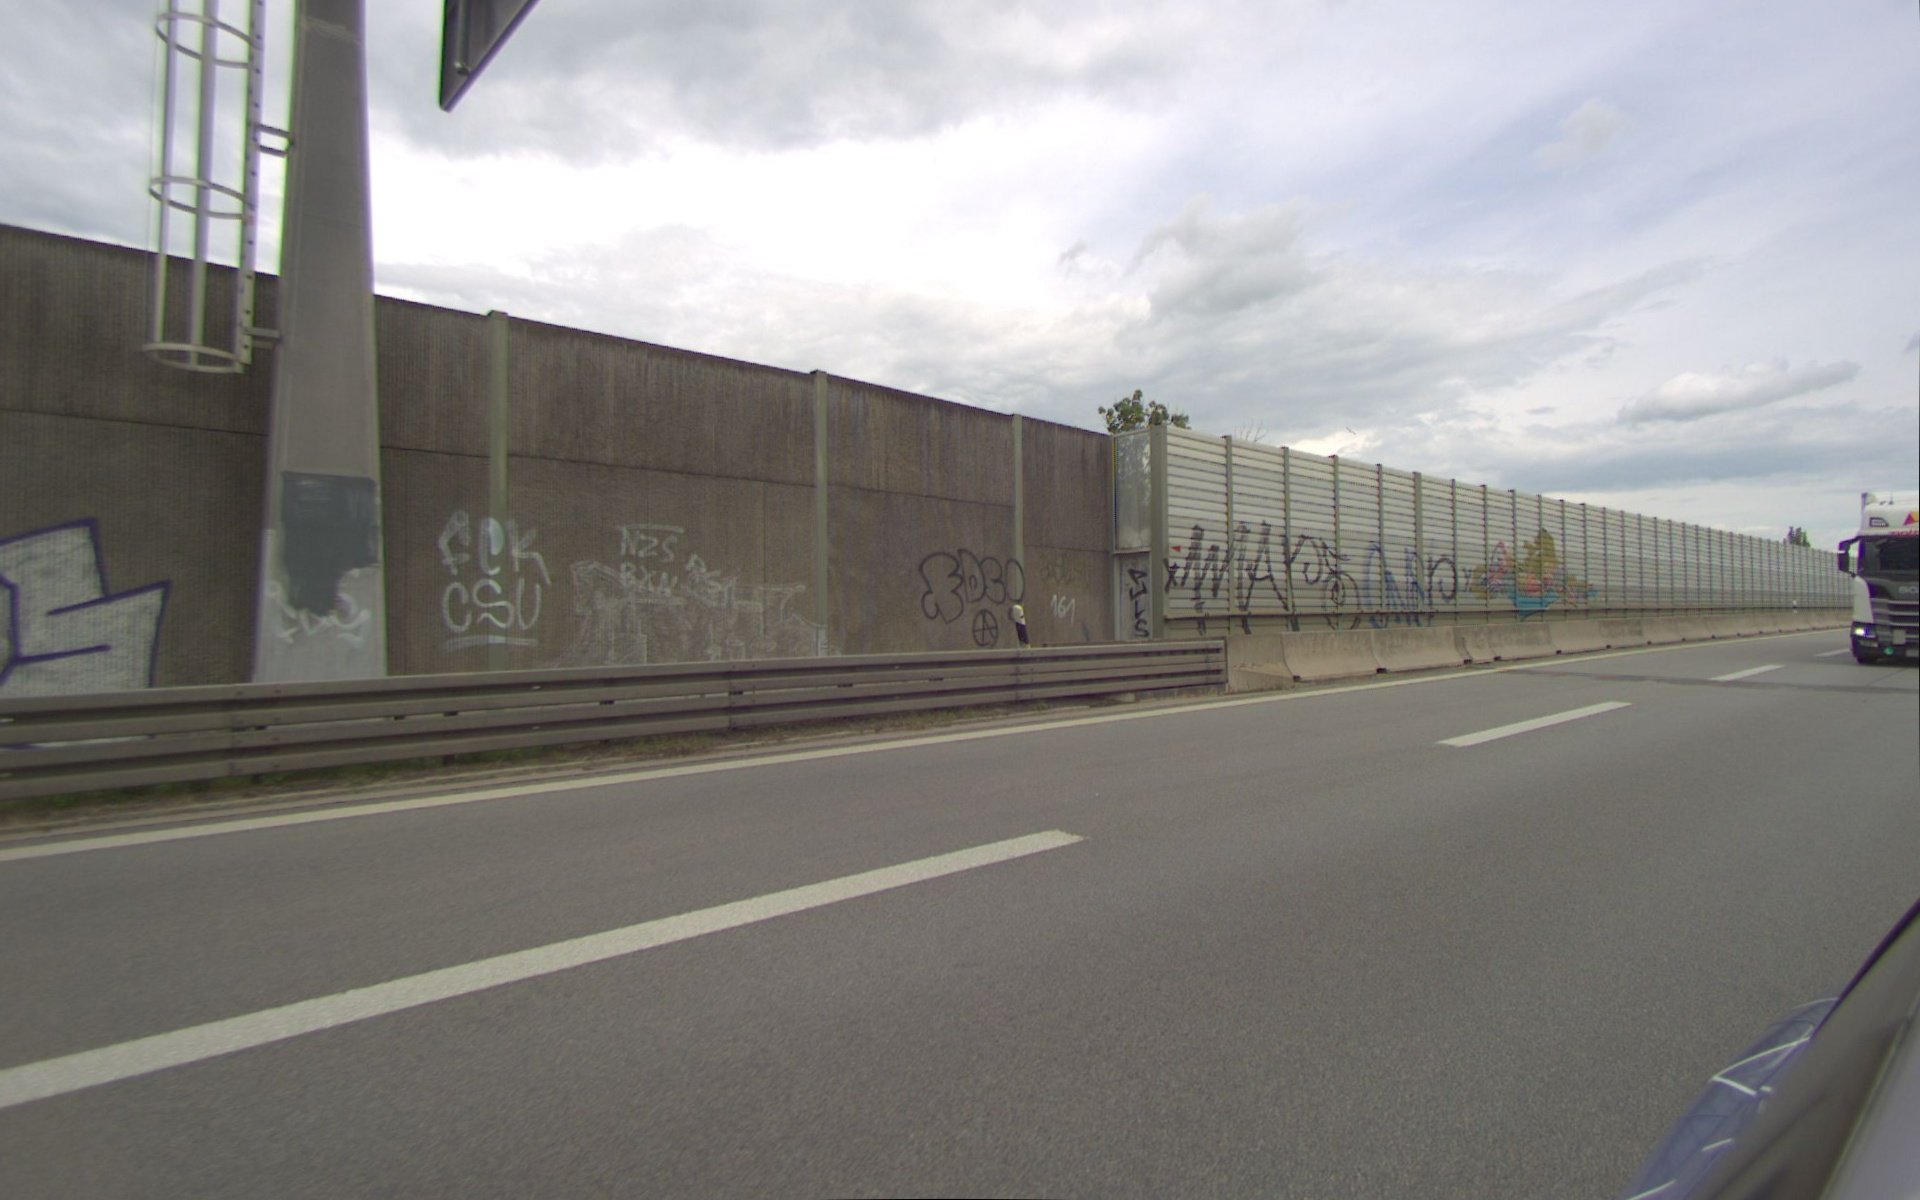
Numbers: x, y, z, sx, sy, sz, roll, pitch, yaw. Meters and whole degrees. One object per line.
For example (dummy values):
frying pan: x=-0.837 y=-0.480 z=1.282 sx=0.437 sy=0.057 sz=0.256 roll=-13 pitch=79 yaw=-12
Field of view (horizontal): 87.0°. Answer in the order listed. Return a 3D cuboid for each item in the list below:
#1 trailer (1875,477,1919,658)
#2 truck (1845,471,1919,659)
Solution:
trailer: x=28.093 y=-0.801 z=27.812 sx=13.858 sy=4.228 sz=2.797 roll=0 pitch=0 yaw=-41
truck: x=22.631 y=-0.711 z=23.141 sx=5.575 sy=4.010 sz=2.761 roll=1 pitch=-1 yaw=-40
